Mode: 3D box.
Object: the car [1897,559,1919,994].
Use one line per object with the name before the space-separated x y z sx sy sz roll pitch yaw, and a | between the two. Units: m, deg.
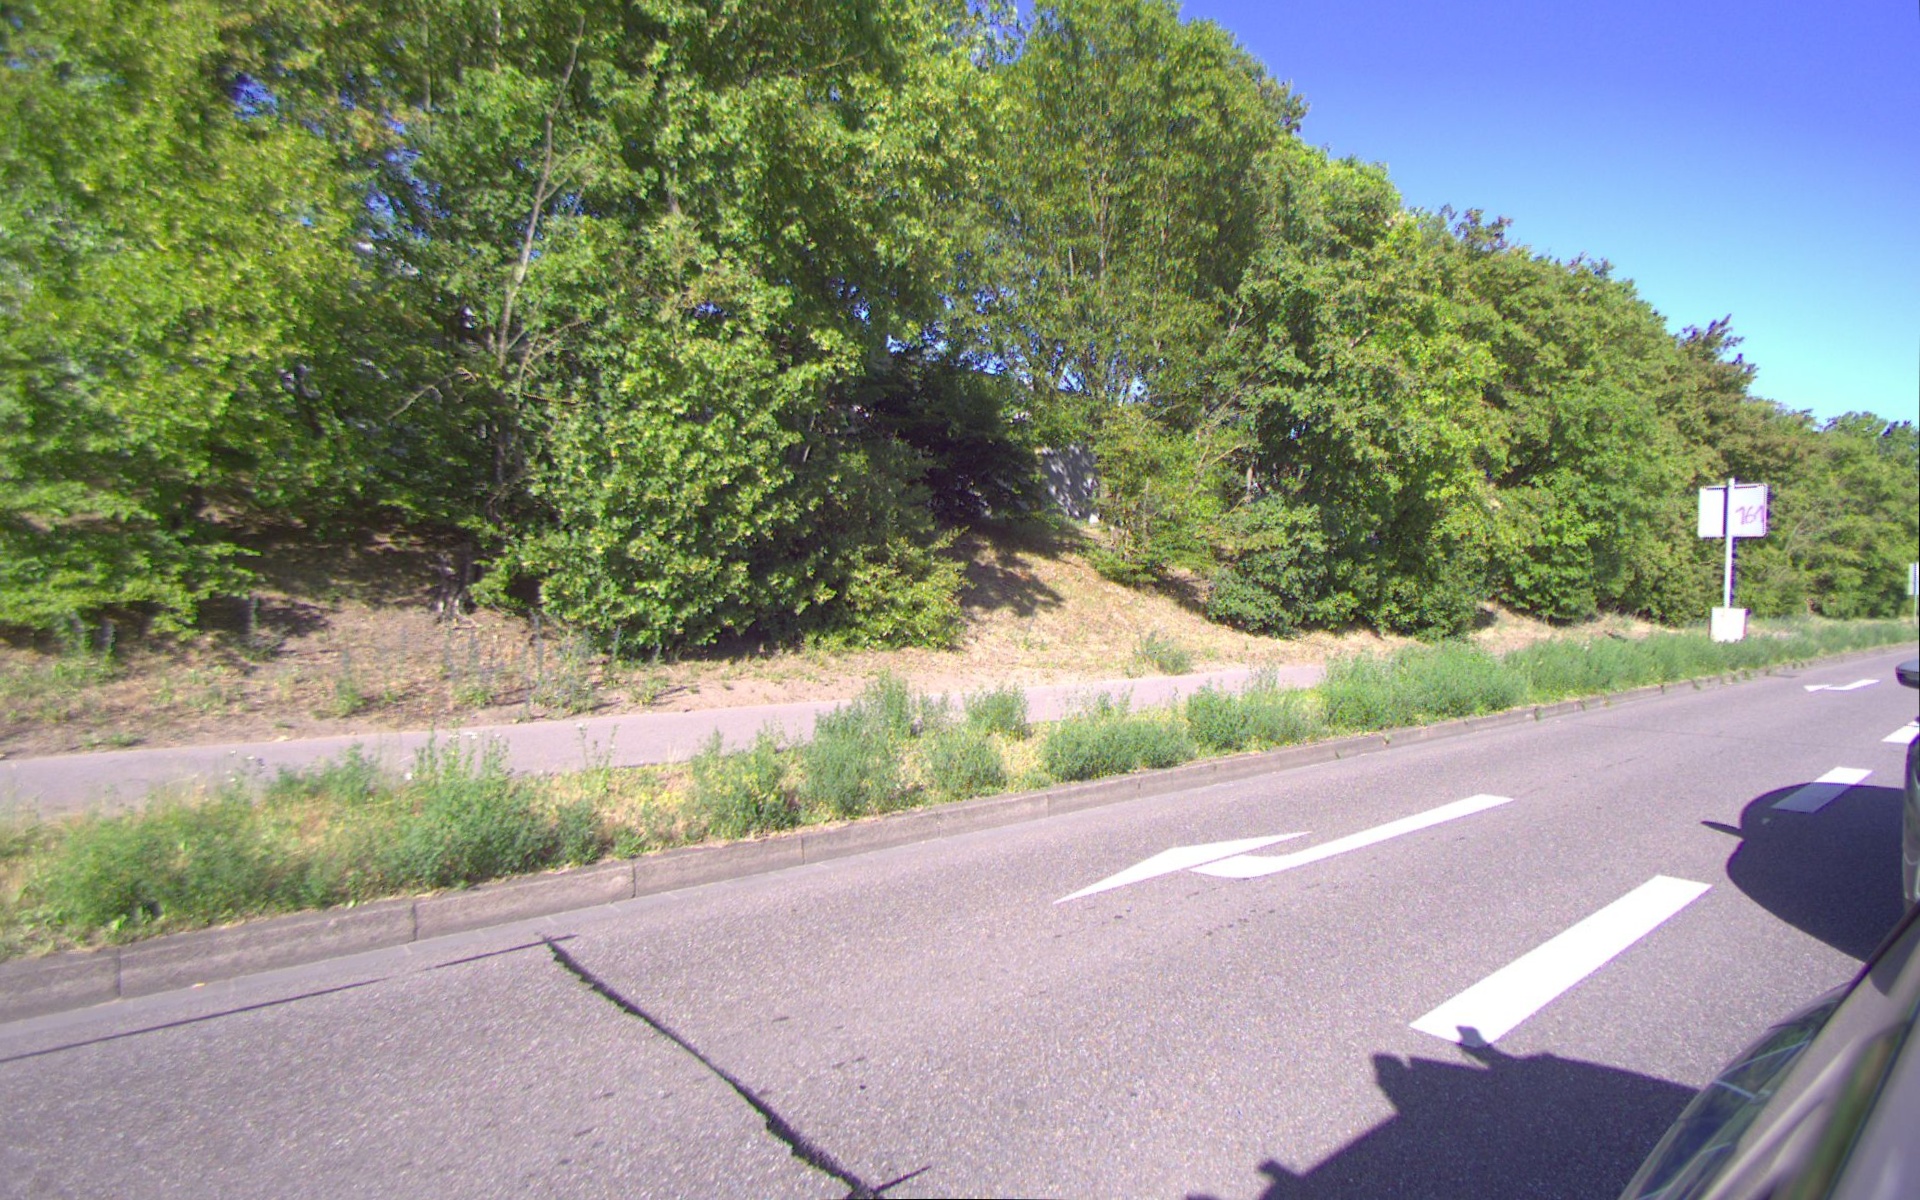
car | 5.724 0.654 4.530 4.327 1.603 1.860 0 0 -42
